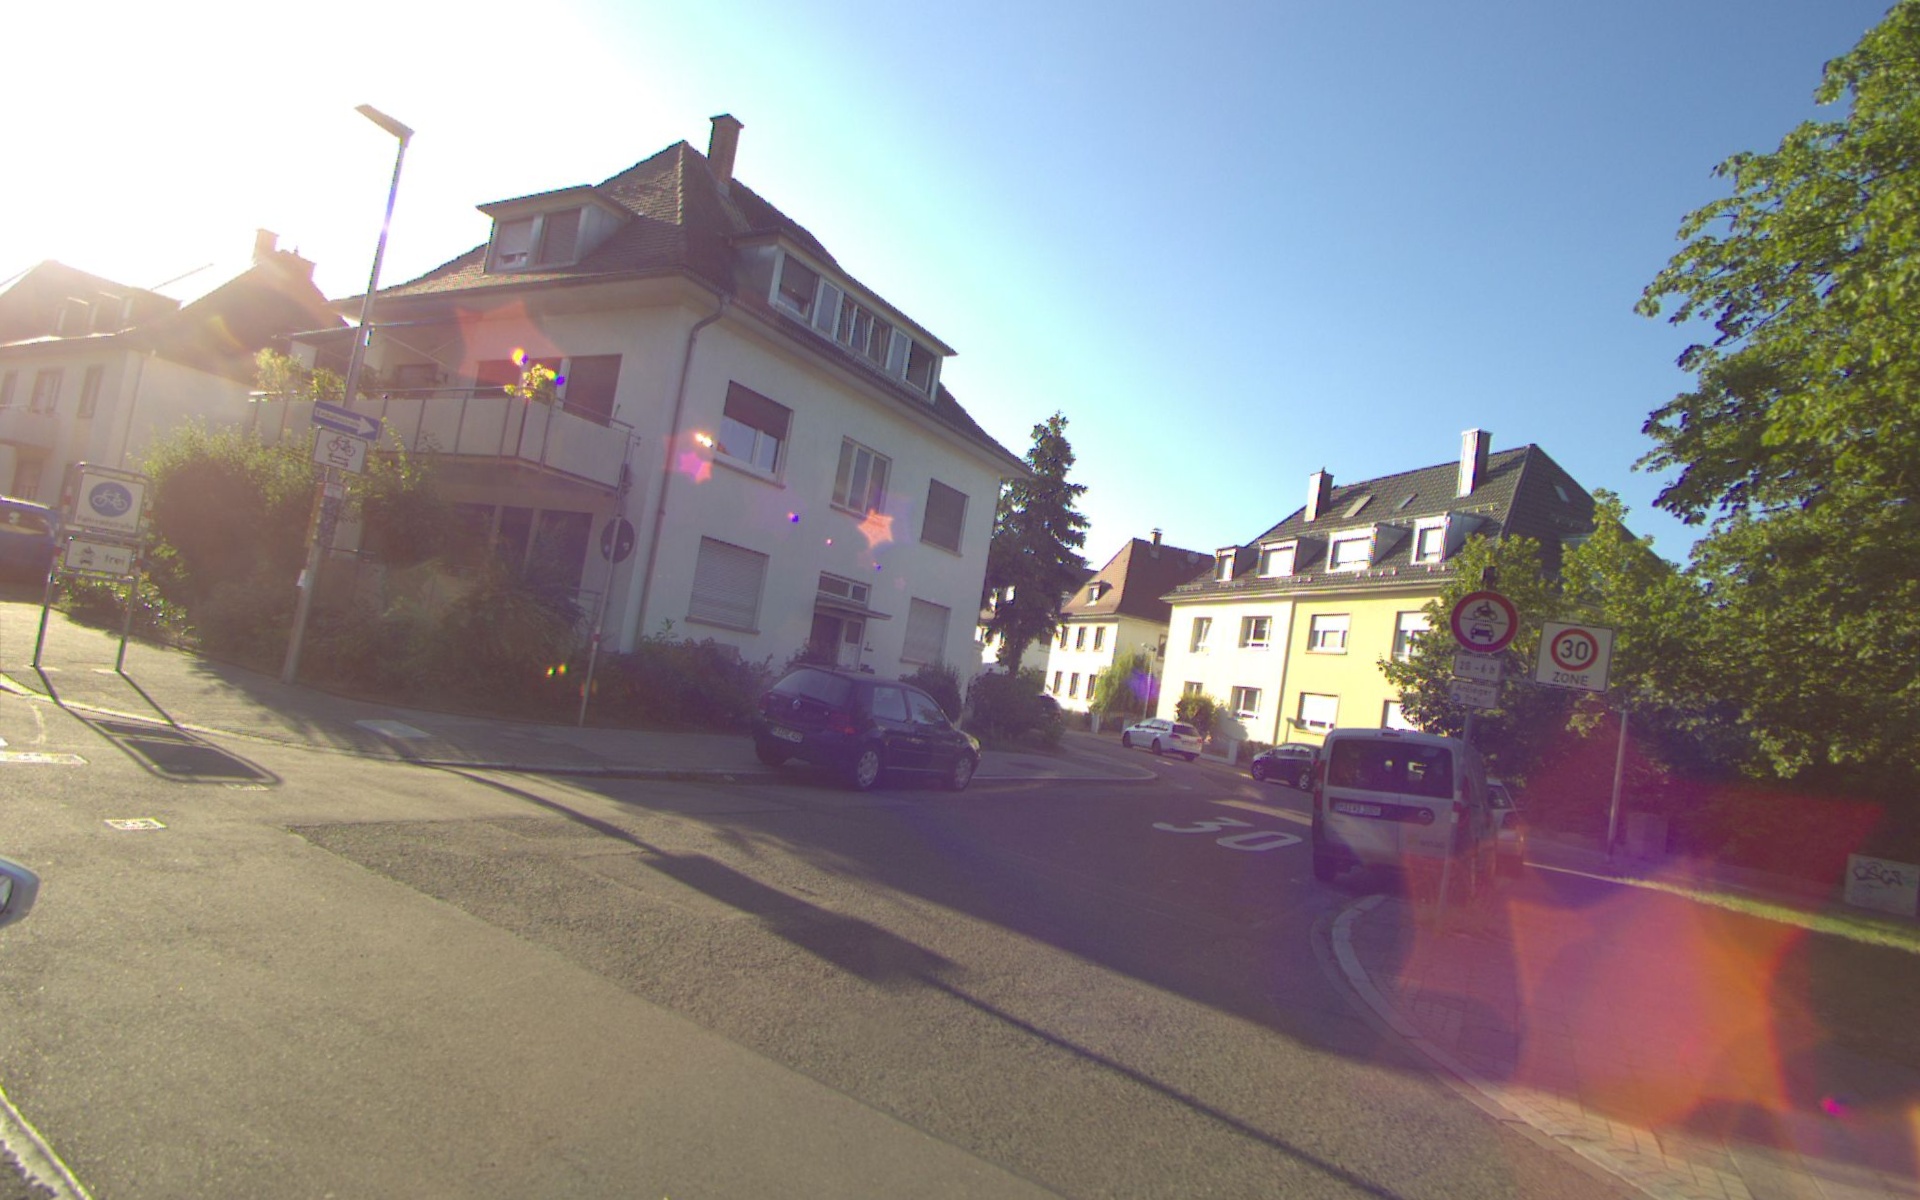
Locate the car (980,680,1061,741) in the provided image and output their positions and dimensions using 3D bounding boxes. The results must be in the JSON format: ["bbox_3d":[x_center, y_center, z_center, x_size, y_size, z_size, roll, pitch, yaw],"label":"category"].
[{"bbox_3d":[2.387,4.446,40.789,1.970,2.031,4.001,11,-7,-11],"label":"car"}]

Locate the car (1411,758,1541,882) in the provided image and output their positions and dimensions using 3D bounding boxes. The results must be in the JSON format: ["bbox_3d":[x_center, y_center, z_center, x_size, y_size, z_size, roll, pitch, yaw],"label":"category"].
[{"bbox_3d":[8.507,3.554,16.710,1.577,1.530,3.570,7,-6,27],"label":"car"}]

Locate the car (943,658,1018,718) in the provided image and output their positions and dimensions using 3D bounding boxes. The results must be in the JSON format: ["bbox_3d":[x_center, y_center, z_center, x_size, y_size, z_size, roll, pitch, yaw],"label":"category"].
[{"bbox_3d":[0.912,4.155,47.570,2.082,2.357,4.517,11,-7,-13],"label":"car"}]

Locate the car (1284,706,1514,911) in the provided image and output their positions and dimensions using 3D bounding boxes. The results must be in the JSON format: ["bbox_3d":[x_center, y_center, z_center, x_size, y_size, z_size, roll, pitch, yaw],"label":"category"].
[{"bbox_3d":[5.815,2.624,12.982,1.997,1.892,4.258,6,-7,32],"label":"car"}]

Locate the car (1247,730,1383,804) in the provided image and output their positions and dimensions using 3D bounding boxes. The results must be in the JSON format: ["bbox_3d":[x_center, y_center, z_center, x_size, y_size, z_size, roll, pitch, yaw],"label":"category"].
[{"bbox_3d":[11.284,5.286,32.283,1.972,1.567,3.990,11,-4,-16],"label":"car"}]

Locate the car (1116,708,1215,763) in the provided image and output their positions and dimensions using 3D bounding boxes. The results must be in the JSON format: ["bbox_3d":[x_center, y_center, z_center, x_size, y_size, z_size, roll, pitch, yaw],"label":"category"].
[{"bbox_3d":[8.401,5.550,41.560,1.974,1.585,4.095,11,-5,-19],"label":"car"}]

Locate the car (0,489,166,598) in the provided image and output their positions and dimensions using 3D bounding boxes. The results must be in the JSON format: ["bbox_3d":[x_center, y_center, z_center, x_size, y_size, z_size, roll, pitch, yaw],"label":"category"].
[{"bbox_3d":[-20.522,-1.267,22.363,1.730,1.839,4.004,1,-8,28],"label":"car"}]

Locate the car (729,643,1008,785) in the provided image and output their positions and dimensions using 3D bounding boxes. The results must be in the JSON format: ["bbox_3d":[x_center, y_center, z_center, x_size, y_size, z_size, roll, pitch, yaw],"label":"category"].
[{"bbox_3d":[-1.105,1.678,14.071,1.688,1.460,4.002,6,-6,32],"label":"car"}]
